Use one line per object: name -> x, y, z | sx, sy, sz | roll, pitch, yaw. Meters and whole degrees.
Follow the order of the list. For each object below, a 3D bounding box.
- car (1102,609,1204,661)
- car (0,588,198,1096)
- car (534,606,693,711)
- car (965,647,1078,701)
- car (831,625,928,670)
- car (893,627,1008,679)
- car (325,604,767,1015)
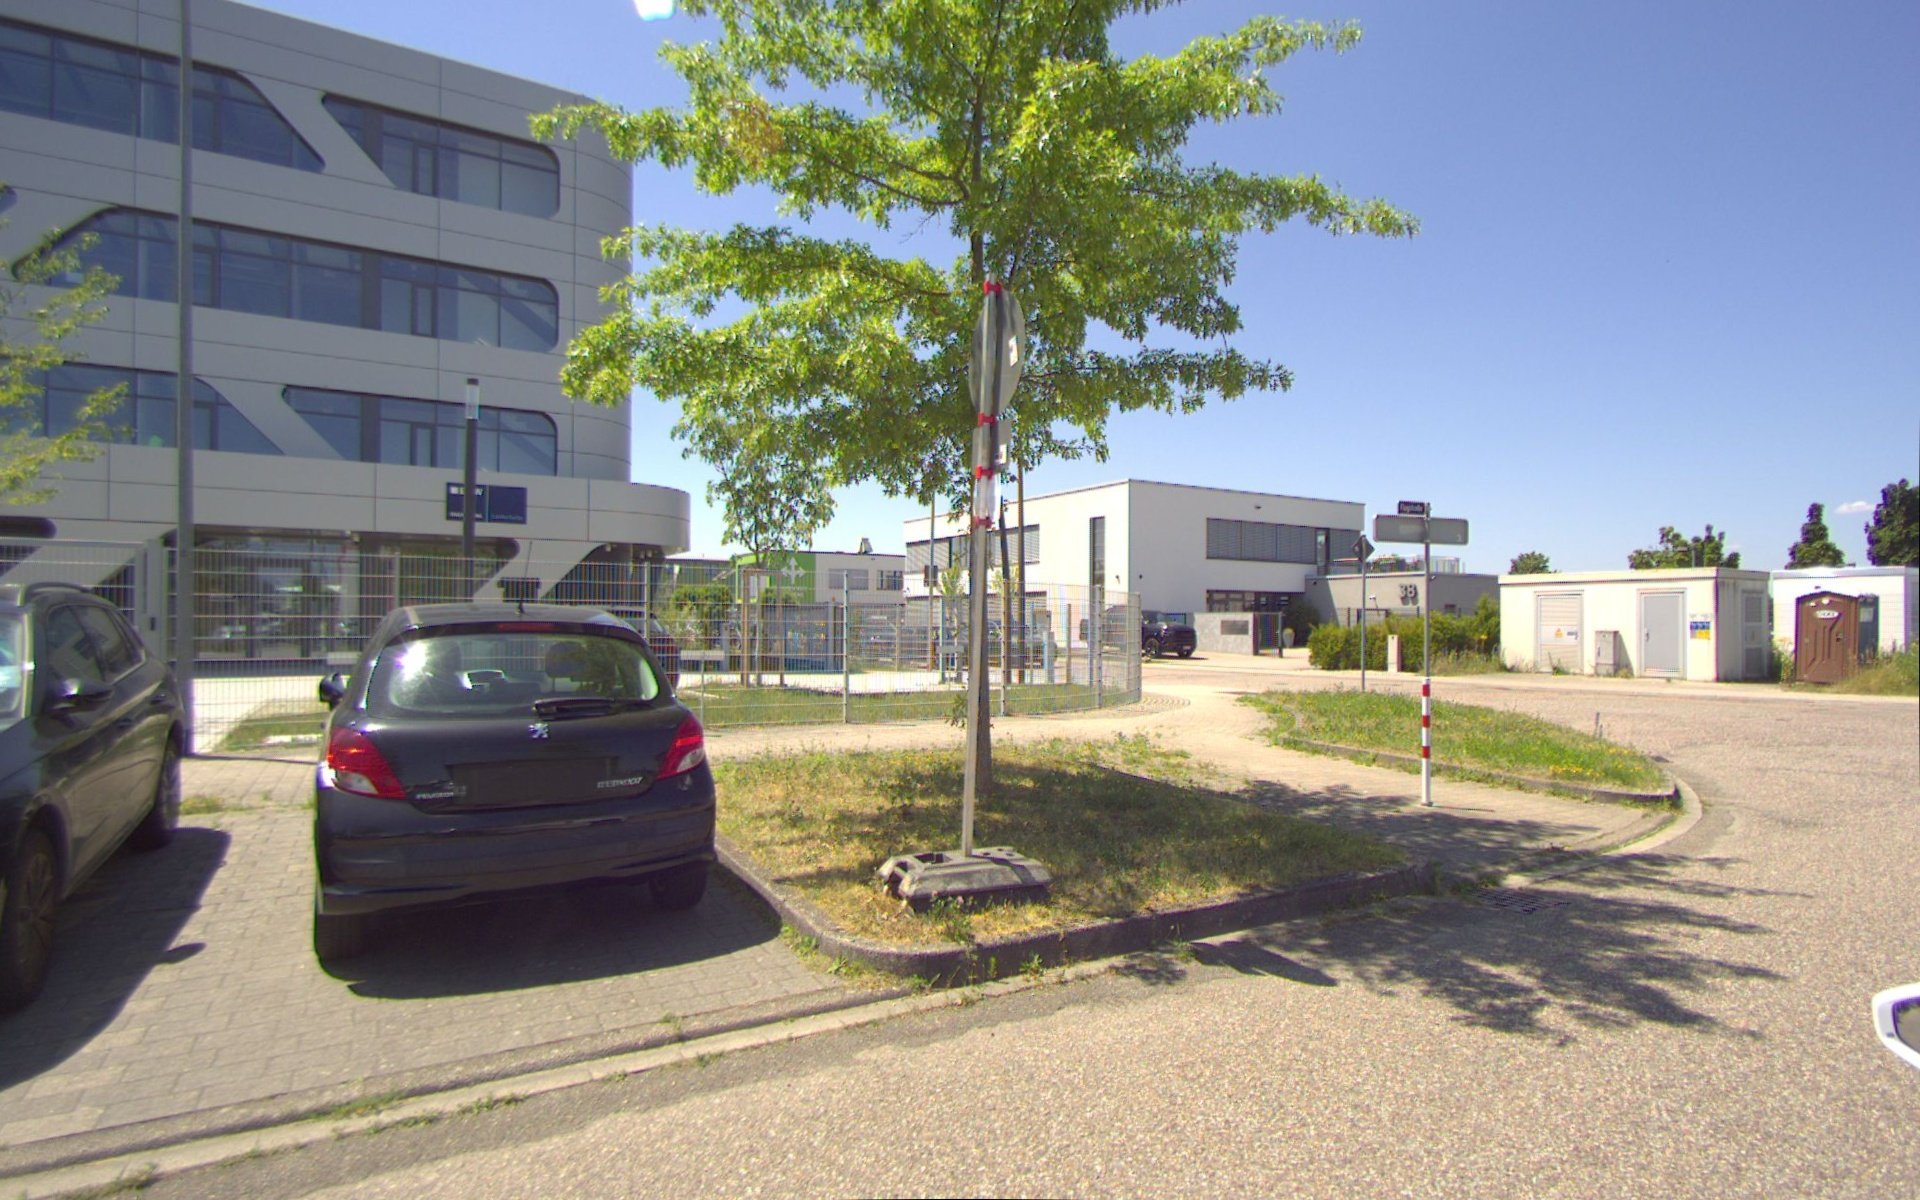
car -> 7.942, 1.452, 41.608 | 1.979, 2.040, 3.964 | 1, -2, -33
car -> -4.651, 0.727, 4.265 | 1.764, 1.541, 3.908 | 1, 0, -30
car -> -5.387, 0.864, 15.363 | 1.658, 1.409, 3.463 | 1, -3, -30
car -> 2.168, 2.644, 36.799 | 1.934, 1.730, 4.476 | -1, -1, -30
car -> -3.098, 1.803, 38.105 | 1.979, 1.560, 3.964 | 4, -4, -33
car -> -0.371, 1.751, 33.490 | 1.979, 1.560, 3.964 | 4, -4, -33
car -> -2.578, 0.800, 5.709 | 1.707, 1.455, 3.605 | 1, 0, -32
